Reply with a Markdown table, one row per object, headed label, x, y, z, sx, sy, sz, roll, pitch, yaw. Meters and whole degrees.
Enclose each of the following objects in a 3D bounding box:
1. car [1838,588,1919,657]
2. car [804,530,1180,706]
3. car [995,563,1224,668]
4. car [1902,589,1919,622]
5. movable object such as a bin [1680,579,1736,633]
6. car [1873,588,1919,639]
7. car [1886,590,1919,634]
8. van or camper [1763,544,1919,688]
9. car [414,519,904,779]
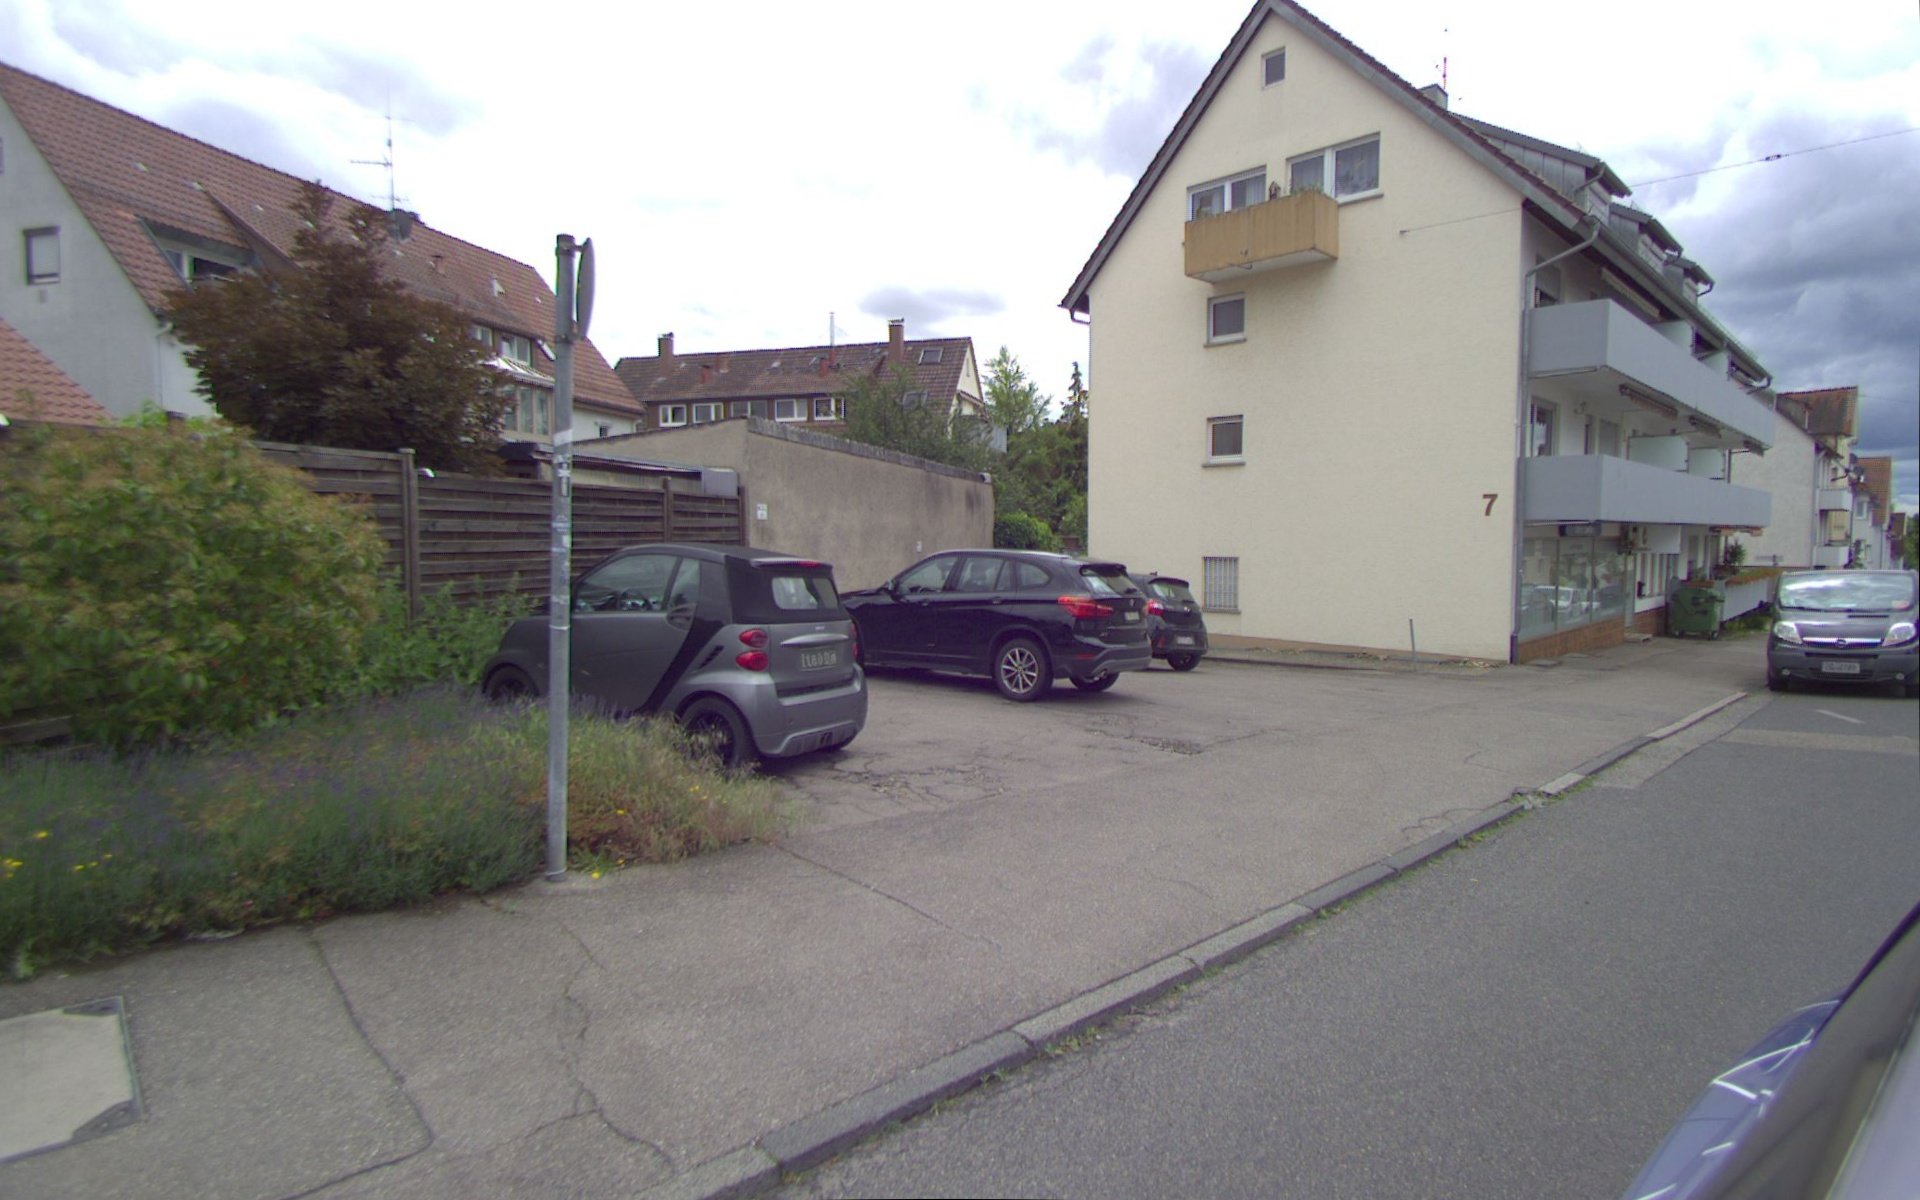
| label | x | y | z | sx | sy | sz | roll | pitch | yaw |
| --- | --- | --- | --- | --- | --- | --- | --- | --- | --- |
| car | 21.856 | 0.463 | 23.773 | 1.610 | 1.473 | 4.265 | 1 | 1 | 45 |
| car | 0.286 | 0.082 | 11.975 | 4.104 | 1.674 | 1.879 | 4 | 3 | 37 |
| car | 2.340 | 0.207 | 16.260 | 1.698 | 1.506 | 3.315 | 0 | 0 | -45 |
| car | 45.590 | 0.244 | 47.746 | 1.609 | 1.473 | 3.798 | 1 | 1 | 44 |
| movable object such as a bin | 20.684 | 0.139 | 27.983 | 1.240 | 1.455 | 1.080 | -1 | 1 | -45 |
| car | 29.322 | 0.386 | 31.197 | 1.609 | 1.473 | 3.261 | 1 | 1 | 44 |
| car | 32.295 | 0.382 | 34.059 | 1.581 | 1.423 | 3.541 | 1 | 1 | 44 |
| van or camper | 14.838 | 0.209 | 16.717 | 1.994 | 2.039 | 4.984 | 0 | 0 | 44 |
| car | -2.286 | 0.221 | 7.682 | 3.291 | 1.537 | 1.689 | 3 | 3 | 26 |
